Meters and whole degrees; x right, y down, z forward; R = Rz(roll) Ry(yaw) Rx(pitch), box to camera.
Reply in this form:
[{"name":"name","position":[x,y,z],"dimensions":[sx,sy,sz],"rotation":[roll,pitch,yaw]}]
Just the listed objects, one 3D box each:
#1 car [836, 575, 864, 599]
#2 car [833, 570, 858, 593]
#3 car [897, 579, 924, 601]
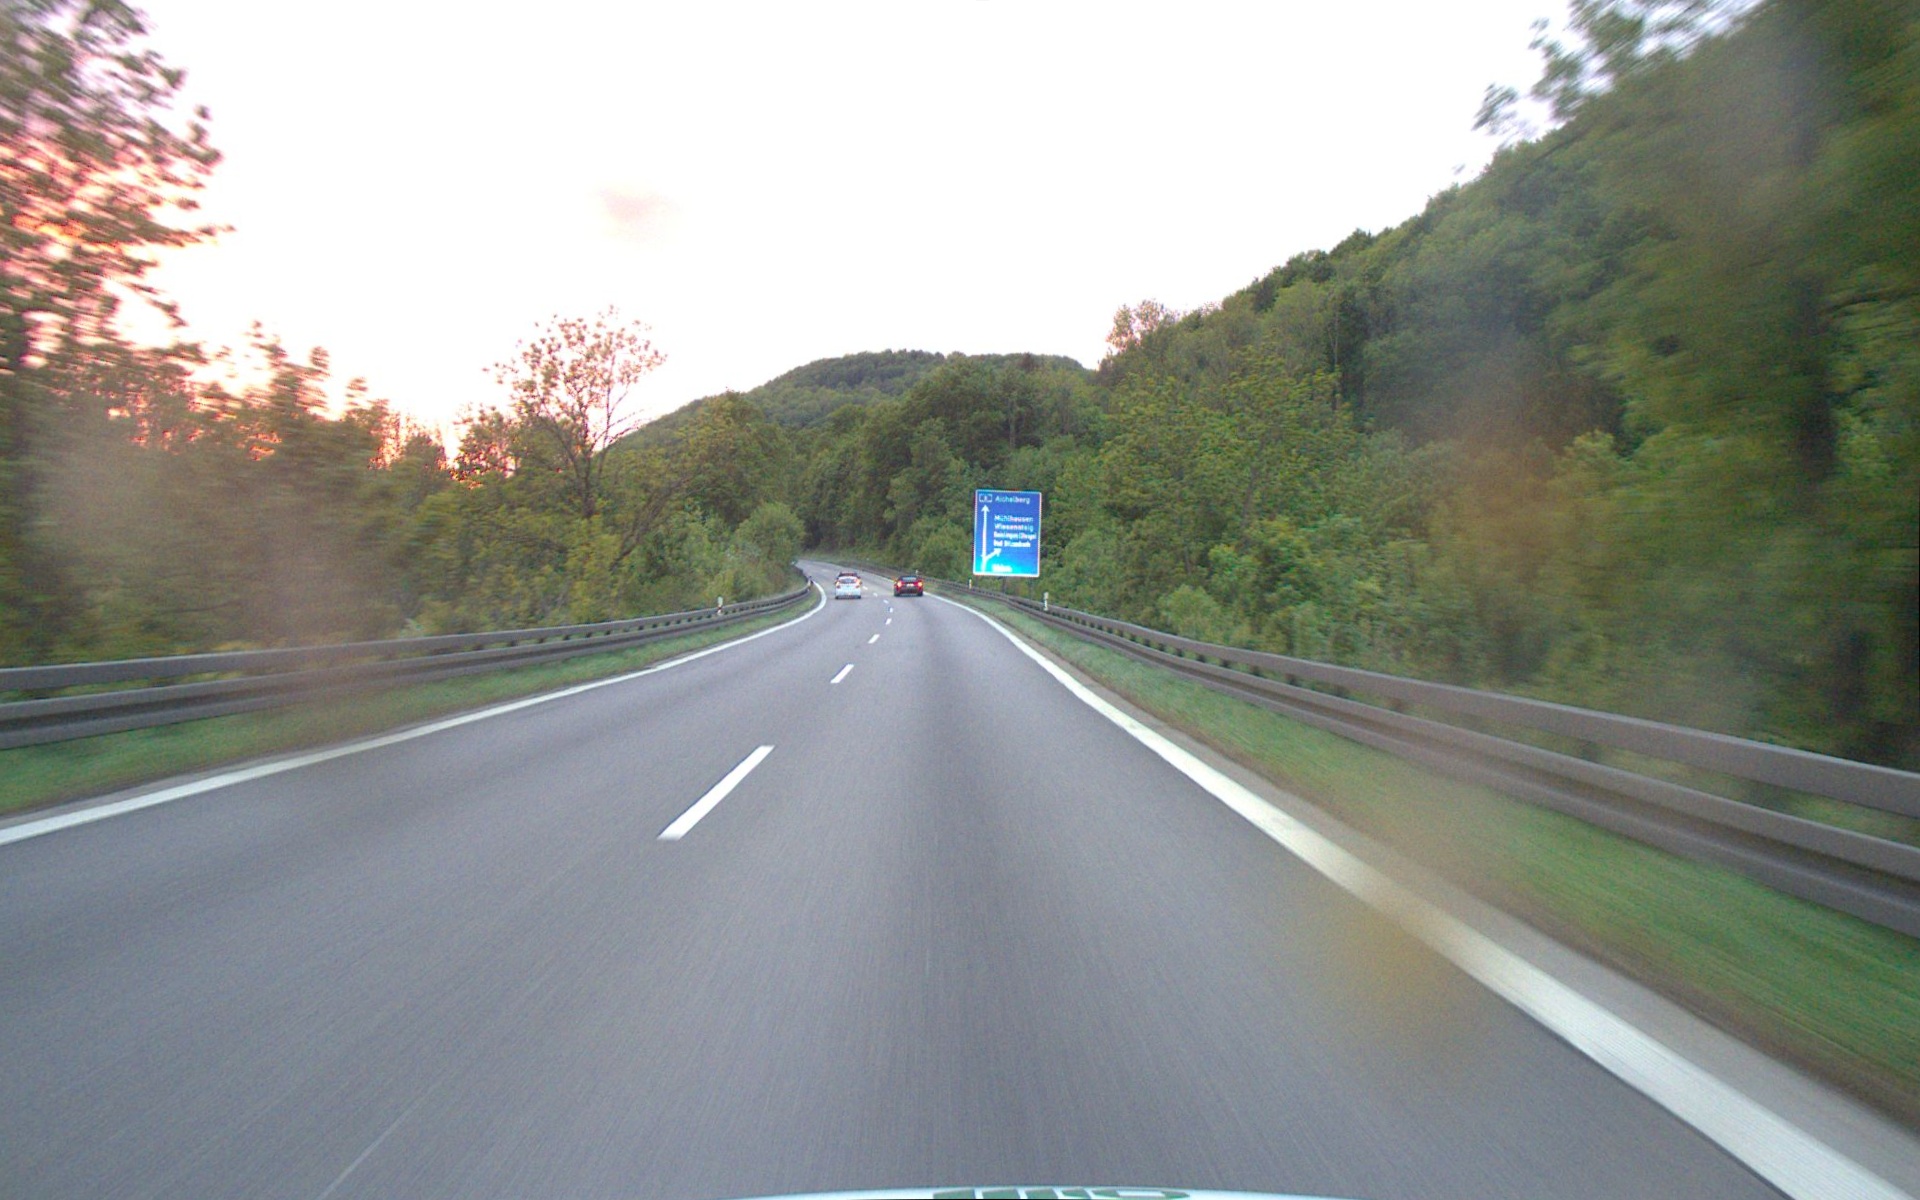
[{"name":"car","position":[-7.395,-0.867,111.095],"dimensions":[1.683,1.527,3.999],"rotation":[0,0,-1]},{"name":"car","position":[-8.565,-1.394,124.025],"dimensions":[1.684,1.663,3.998],"rotation":[0,0,-2]},{"name":"car","position":[-3.435,-0.686,114.730],"dimensions":[1.840,1.492,3.999],"rotation":[0,0,-1]}]
